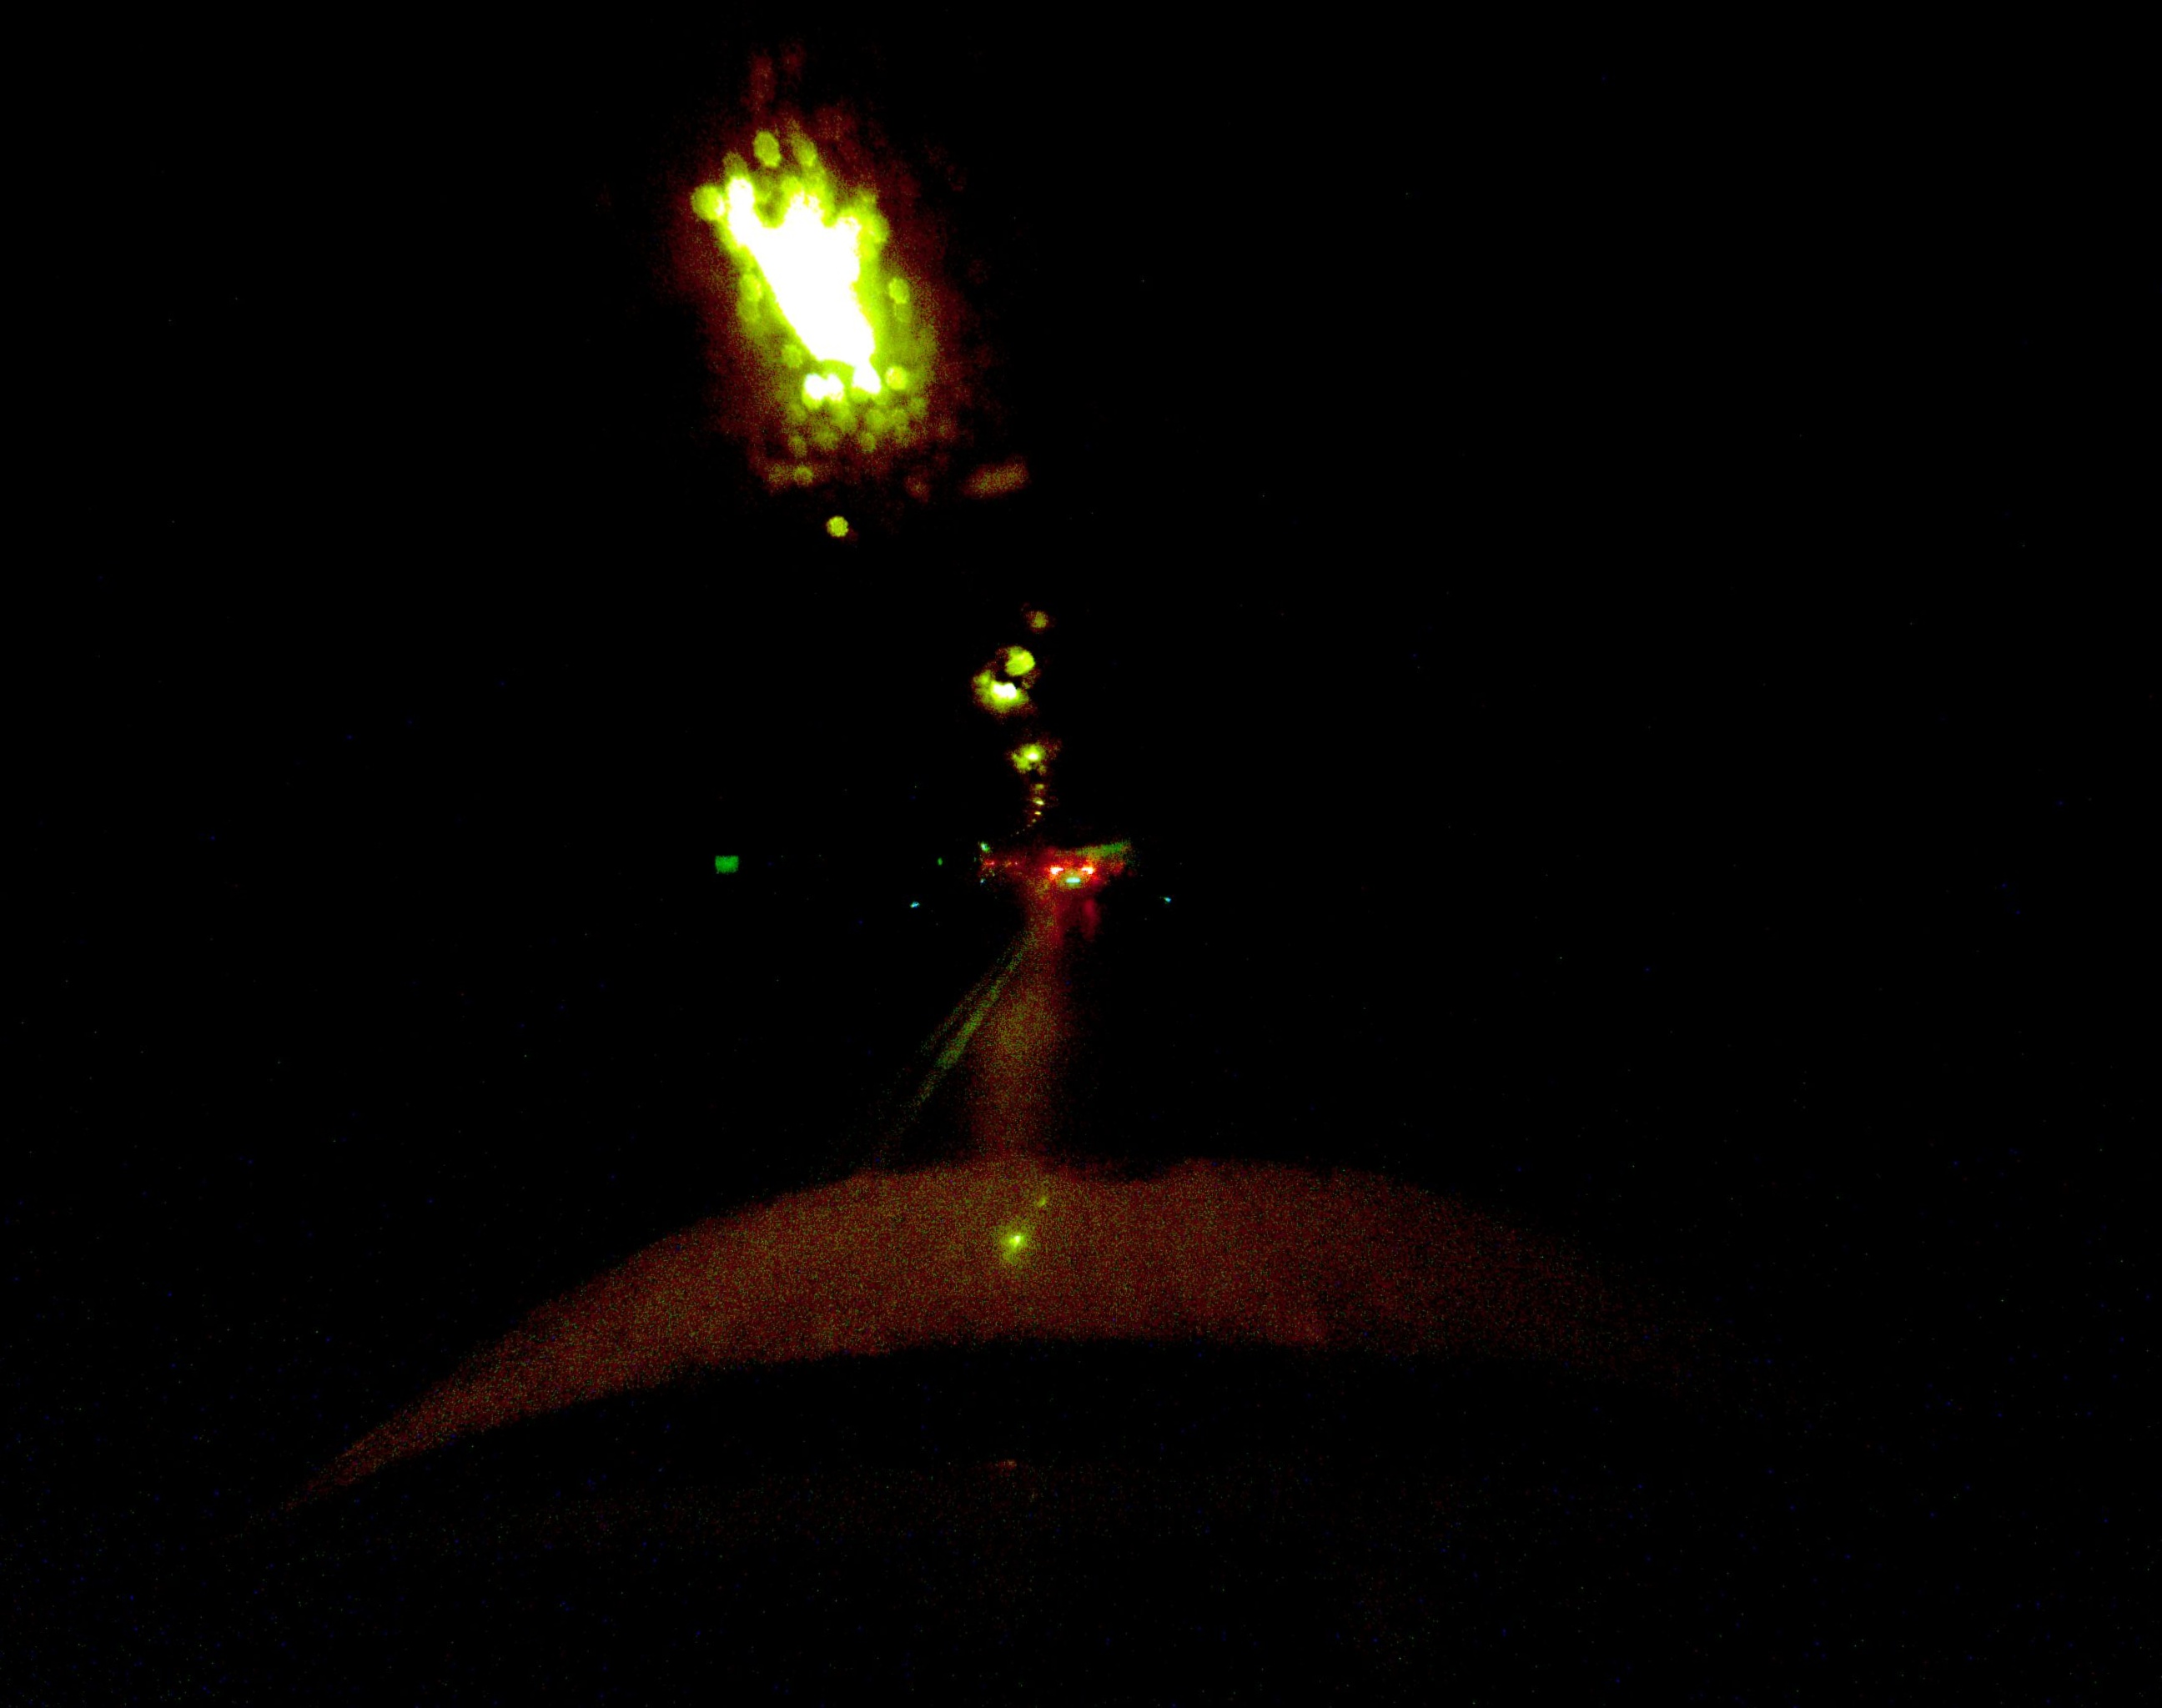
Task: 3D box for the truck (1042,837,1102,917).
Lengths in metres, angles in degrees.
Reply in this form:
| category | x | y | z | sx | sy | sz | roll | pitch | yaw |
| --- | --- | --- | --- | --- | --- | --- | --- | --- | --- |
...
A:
| category | x | y | z | sx | sy | sz | roll | pitch | yaw |
| --- | --- | --- | --- | --- | --- | --- | --- | --- | --- |
| truck | -0.338 | 0.891 | 34.472 | 2.255 | 3.011 | 7.413 | 0 | 0 | 0 |
